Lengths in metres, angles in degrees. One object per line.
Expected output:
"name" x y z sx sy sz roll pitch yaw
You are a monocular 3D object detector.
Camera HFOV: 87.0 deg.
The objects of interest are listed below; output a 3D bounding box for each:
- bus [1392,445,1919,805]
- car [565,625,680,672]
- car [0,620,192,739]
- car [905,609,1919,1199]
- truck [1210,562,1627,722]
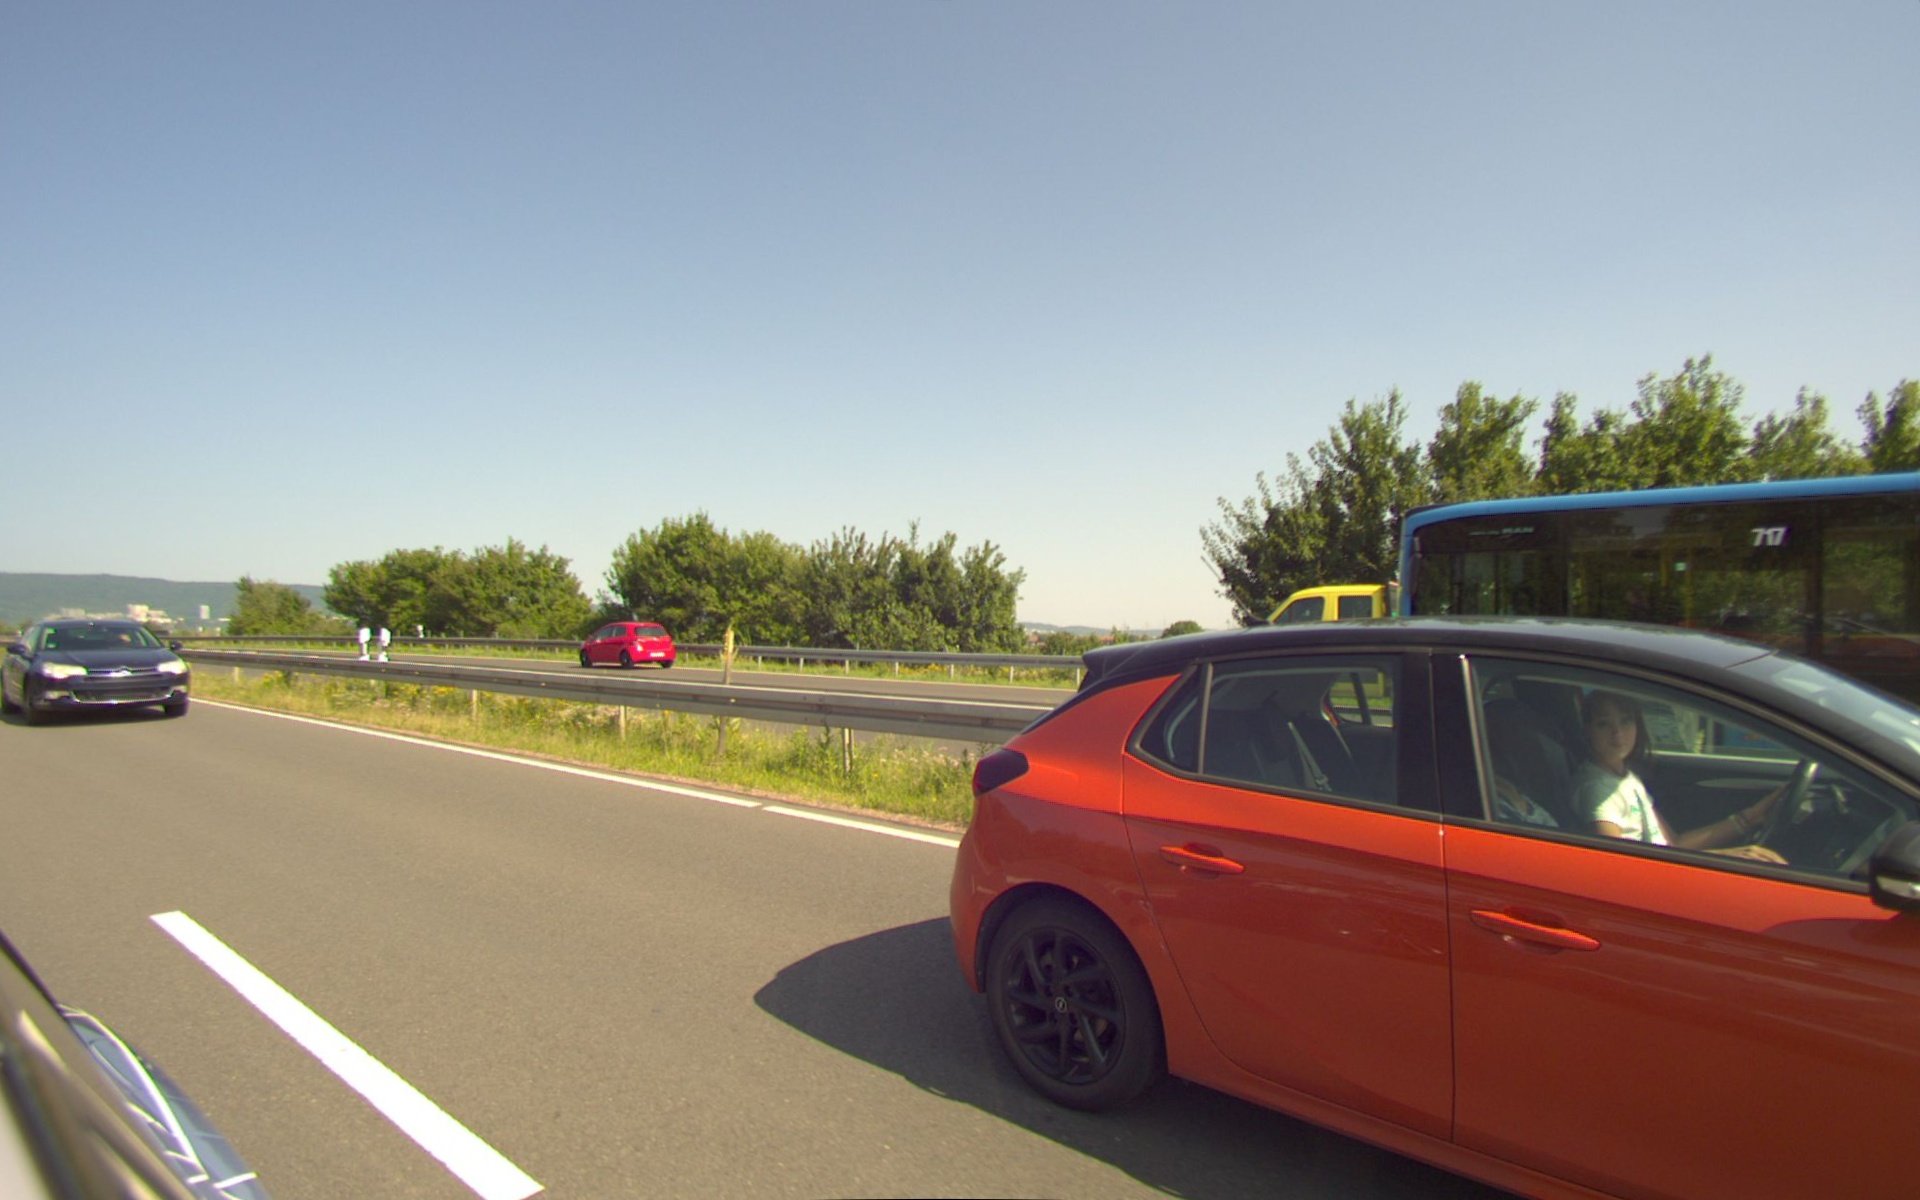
"bus" 9.609 0.235 9.522 9.829 3.134 2.697 -2 -2 41
"car" -11.176 1.599 33.449 3.996 1.457 1.767 -2 -3 40
"car" -13.263 1.092 15.320 4.372 1.545 1.765 -1 -1 41
"car" 2.042 0.760 2.447 4.410 1.448 1.691 -3 -2 41
"truck" 8.088 0.752 18.340 6.597 2.472 2.109 -1 -4 33
